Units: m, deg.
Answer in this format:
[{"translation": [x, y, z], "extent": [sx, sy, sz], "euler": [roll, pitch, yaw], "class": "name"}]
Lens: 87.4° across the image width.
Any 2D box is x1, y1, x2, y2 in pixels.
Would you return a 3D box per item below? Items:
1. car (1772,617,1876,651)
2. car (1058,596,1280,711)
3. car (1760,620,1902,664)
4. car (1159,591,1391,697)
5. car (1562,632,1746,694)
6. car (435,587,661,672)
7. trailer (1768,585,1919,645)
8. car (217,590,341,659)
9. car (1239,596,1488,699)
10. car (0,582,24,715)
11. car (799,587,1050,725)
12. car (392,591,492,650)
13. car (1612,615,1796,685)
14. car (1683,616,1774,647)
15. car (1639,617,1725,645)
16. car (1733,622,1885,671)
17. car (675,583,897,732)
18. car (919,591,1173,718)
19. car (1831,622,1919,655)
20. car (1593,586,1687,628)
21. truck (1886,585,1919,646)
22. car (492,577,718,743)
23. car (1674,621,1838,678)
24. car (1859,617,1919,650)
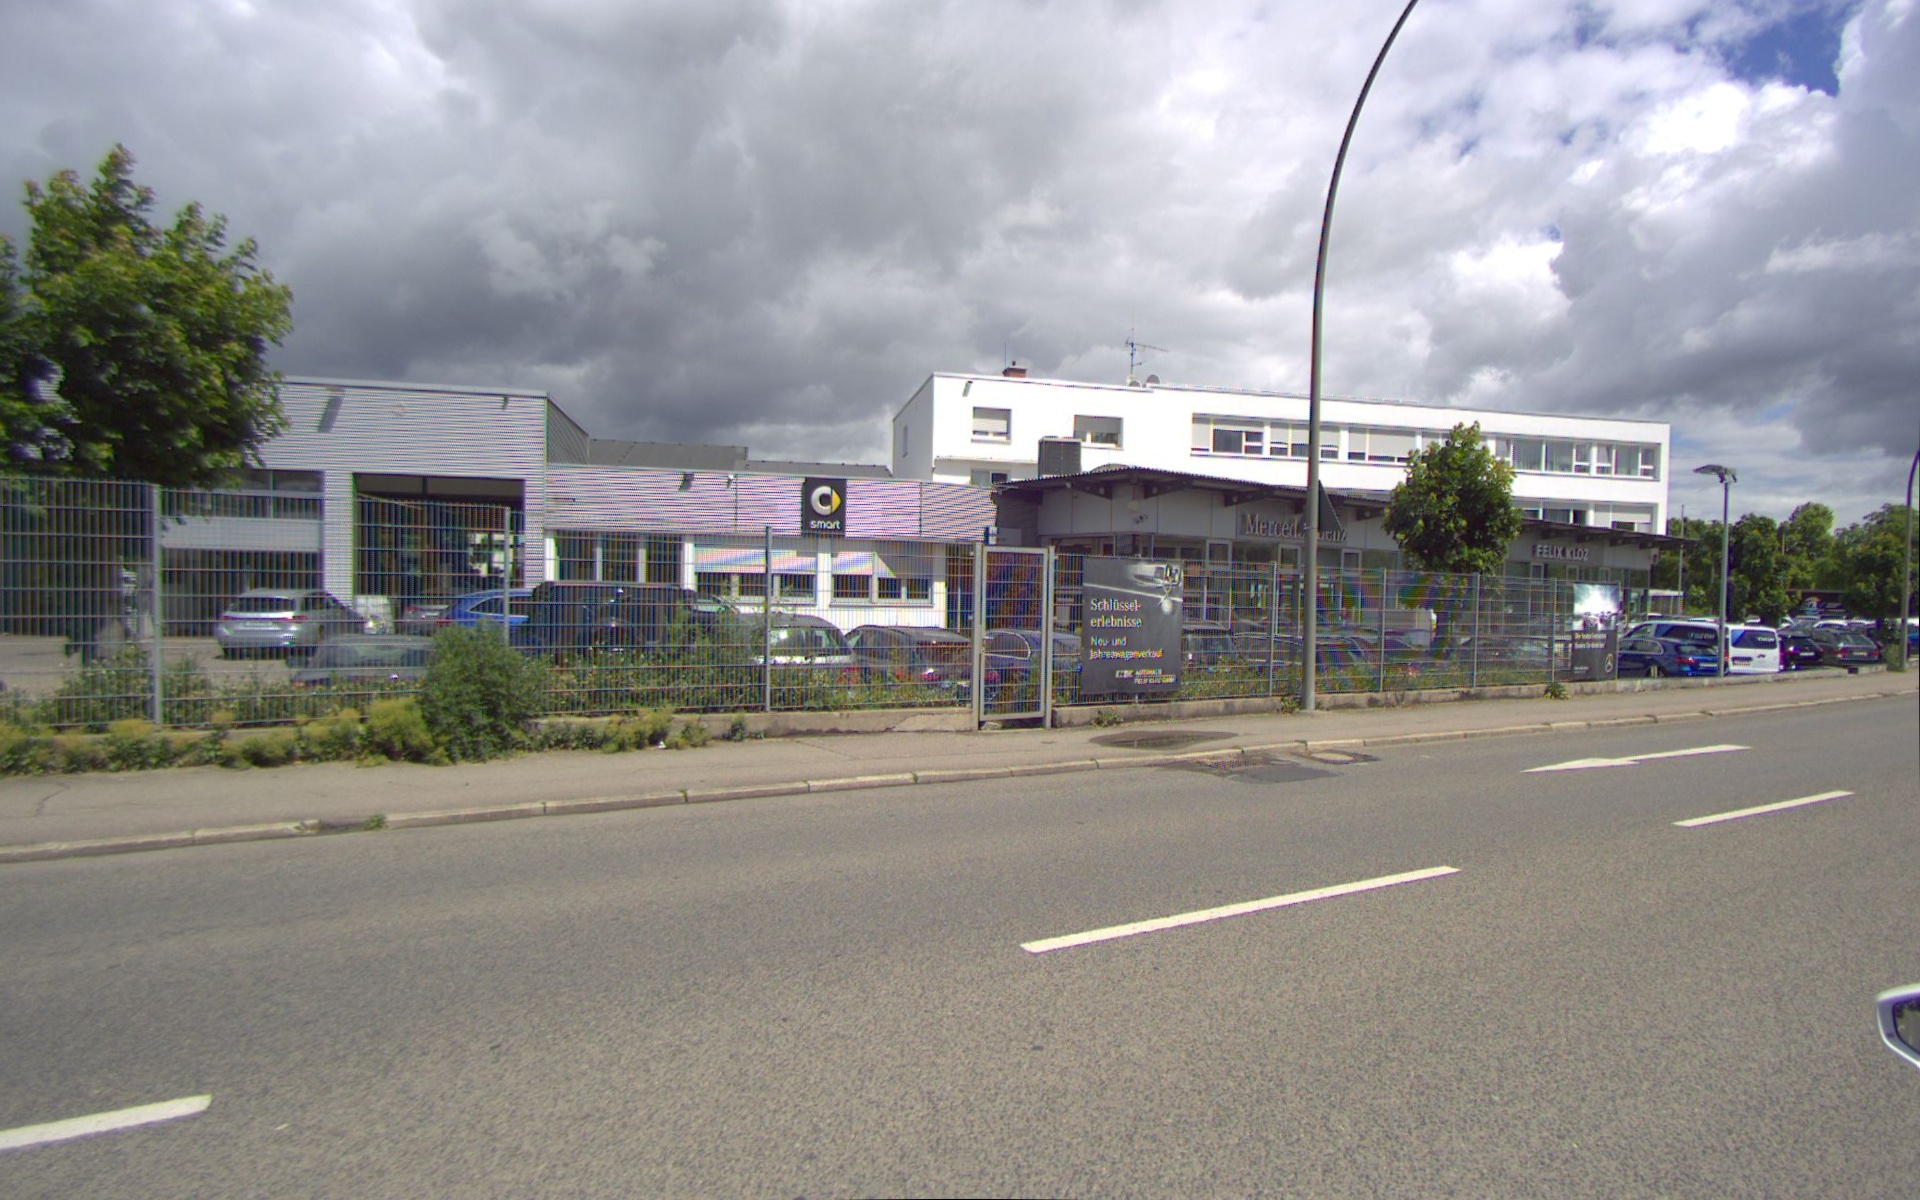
[{"translation": [46.420, 1.825, 54.013], "extent": [3.924, 1.653, 1.998], "euler": [2, 1, -5], "class": "car"}, {"translation": [3.561, 0.850, 17.788], "extent": [1.769, 1.723, 3.880], "euler": [2, 1, -27], "class": "car"}, {"translation": [33.776, 1.597, 39.121], "extent": [1.628, 1.420, 4.201], "euler": [2, 0, -5], "class": "car"}, {"translation": [5.693, 0.727, 18.677], "extent": [1.773, 1.687, 4.066], "euler": [2, 1, -27], "class": "car"}, {"translation": [18.966, 1.679, 27.725], "extent": [1.900, 1.368, 4.201], "euler": [2, 0, -5], "class": "car"}, {"translation": [-8.275, 0.589, 20.384], "extent": [4.028, 1.568, 1.929], "euler": [2, 1, -23], "class": "car"}, {"translation": [64.020, 1.057, 71.741], "extent": [9.590, 4.148, 2.817], "euler": [0, -1, 34], "class": "trailer"}, {"translation": [-15.084, 0.500, 22.418], "extent": [1.558, 1.375, 3.321], "euler": [2, 1, -21], "class": "car"}, {"translation": [7.820, 0.856, 19.905], "extent": [2.146, 1.723, 4.175], "euler": [2, 1, -27], "class": "car"}, {"translation": [-10.467, 0.537, 9.466], "extent": [1.669, 1.412, 3.831], "euler": [2, 1, -32], "class": "car"}, {"translation": [-0.709, 0.725, 15.231], "extent": [2.147, 1.723, 4.173], "euler": [2, 1, -29], "class": "car"}, {"translation": [-13.432, 0.490, 26.219], "extent": [1.555, 1.375, 3.328], "euler": [2, 1, -14], "class": "car"}, {"translation": [21.345, 1.389, 29.058], "extent": [2.132, 1.723, 3.984], "euler": [2, 1, -5], "class": "car"}, {"translation": [45.281, 1.843, 59.256], "extent": [3.924, 1.666, 1.998], "euler": [2, 1, -5], "class": "car"}, {"translation": [44.311, 1.887, 61.679], "extent": [3.924, 1.474, 1.998], "euler": [2, 1, -5], "class": "car"}, {"translation": [30.949, 1.643, 36.784], "extent": [1.762, 1.499, 4.201], "euler": [2, 0, -5], "class": "car"}, {"translation": [-2.602, 0.670, 14.072], "extent": [1.901, 1.723, 4.175], "euler": [2, 1, -27], "class": "car"}, {"translation": [1.245, 0.782, 16.489], "extent": [2.148, 1.723, 4.171], "euler": [2, 1, -30], "class": "car"}, {"translation": [46.633, 1.964, 50.784], "extent": [3.924, 1.495, 1.629], "euler": [2, 1, -5], "class": "car"}, {"translation": [58.768, 0.597, 86.808], "extent": [8.076, 3.380, 3.188], "euler": [2, 1, -27], "class": "car"}, {"translation": [68.001, 1.078, 69.036], "extent": [6.038, 4.148, 2.816], "euler": [0, -1, 36], "class": "truck"}, {"translation": [-4.691, 0.609, 12.841], "extent": [2.146, 1.723, 4.174], "euler": [2, 1, -28], "class": "car"}, {"translation": [26.731, 1.605, 33.945], "extent": [1.944, 1.623, 4.201], "euler": [2, 0, -5], "class": "car"}, {"translation": [54.723, 1.958, 57.574], "extent": [4.229, 1.786, 2.000], "euler": [2, 1, 19], "class": "car"}]
